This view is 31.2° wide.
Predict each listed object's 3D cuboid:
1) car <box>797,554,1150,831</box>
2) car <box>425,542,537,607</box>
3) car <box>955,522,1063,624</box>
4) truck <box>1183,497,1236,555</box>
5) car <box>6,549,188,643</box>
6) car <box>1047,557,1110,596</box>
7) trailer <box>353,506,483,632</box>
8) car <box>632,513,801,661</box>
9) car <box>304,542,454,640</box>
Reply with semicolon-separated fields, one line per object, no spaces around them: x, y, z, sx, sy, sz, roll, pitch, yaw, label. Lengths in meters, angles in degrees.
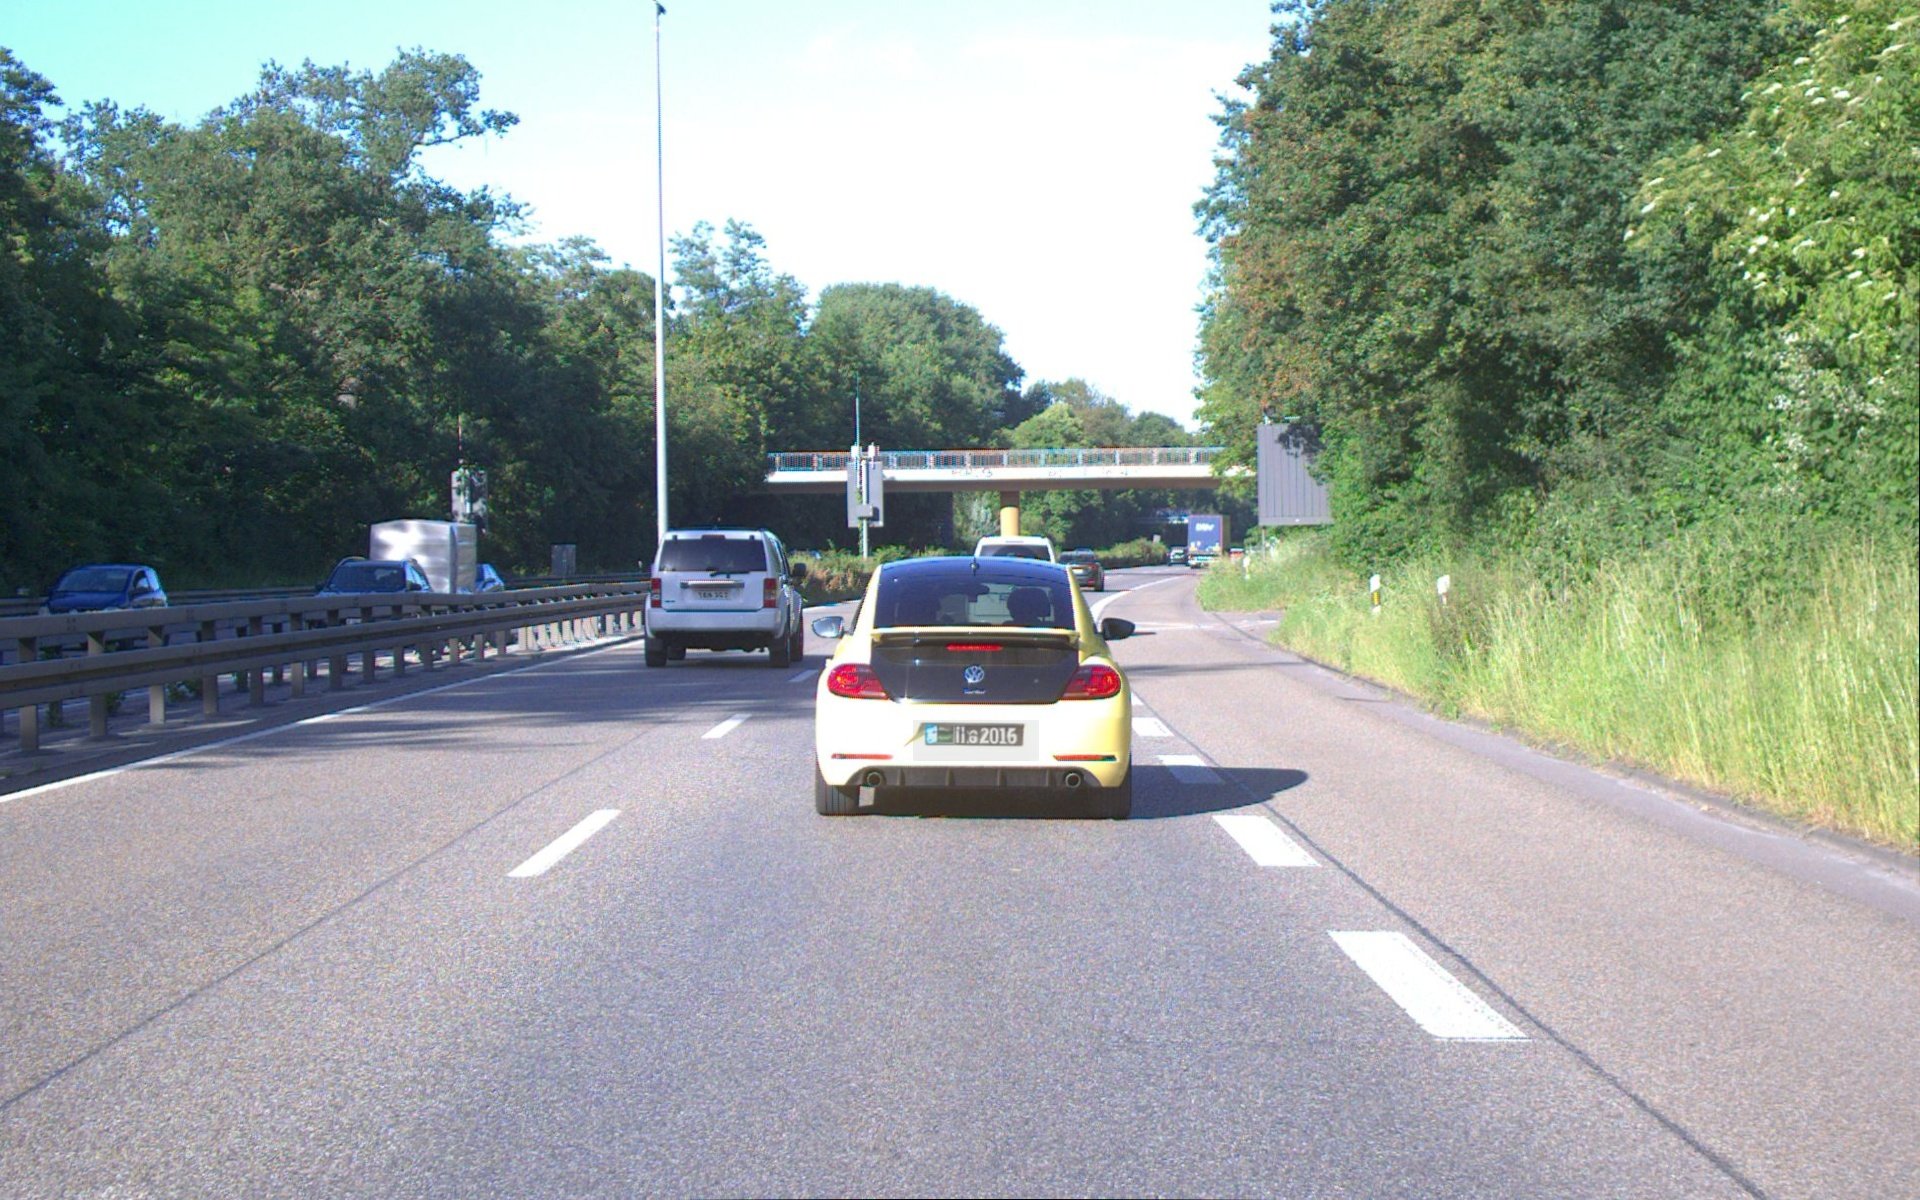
0.014;0.473;20.761;1.879;1.456;4.356;1;1;-2;car
-13.167;-0.724;94.791;2.119;1.719;5.876;1;1;2;car
0.870;-0.500;61.989;1.863;1.764;4.470;-1;1;0;car
18.734;-5.510;257.751;3.497;4.158;8.859;0;1;7;truck
-15.536;-0.106;62.136;2.071;1.608;5.059;0;1;-1;car
4.410;-0.887;127.603;1.994;1.393;3.999;0;1;7;car
-10.917;-0.650;69.543;1.993;2.429;4.607;-1;1;-2;trailer
-3.175;-0.200;44.993;2.085;1.822;4.001;-1;1;-4;car
-10.861;-0.211;64.598;2.071;1.742;5.225;-1;1;-2;car
